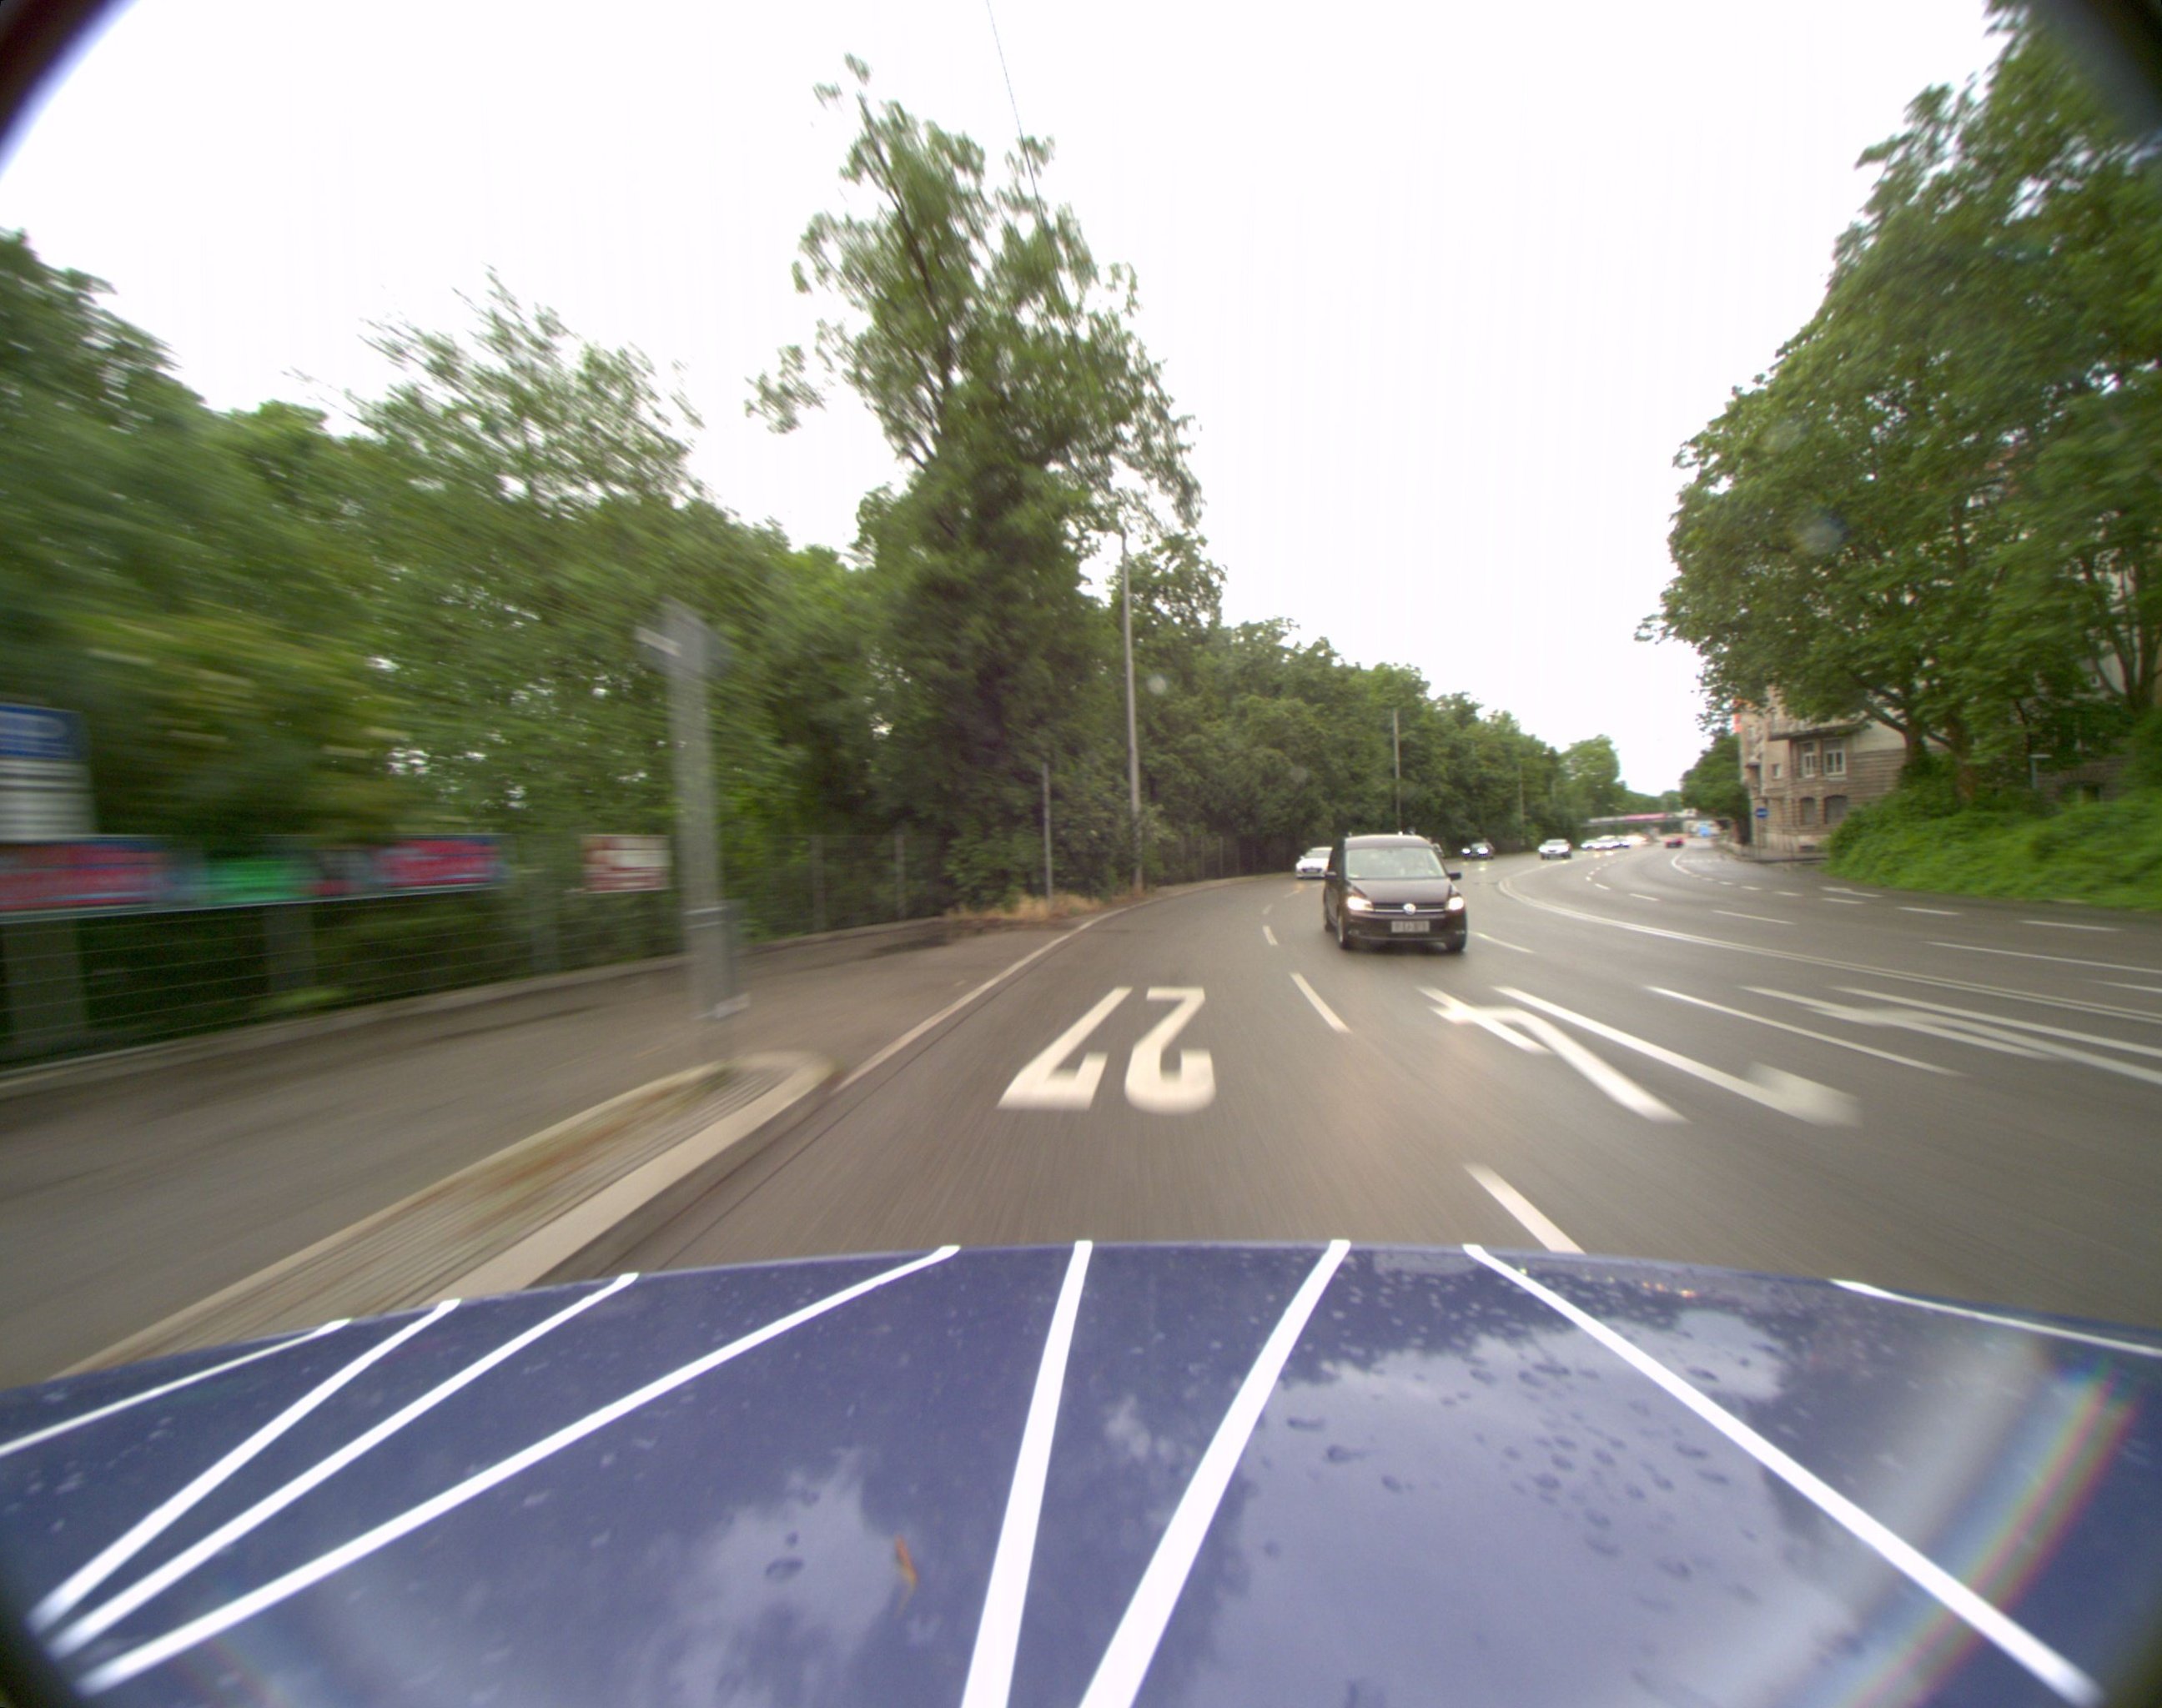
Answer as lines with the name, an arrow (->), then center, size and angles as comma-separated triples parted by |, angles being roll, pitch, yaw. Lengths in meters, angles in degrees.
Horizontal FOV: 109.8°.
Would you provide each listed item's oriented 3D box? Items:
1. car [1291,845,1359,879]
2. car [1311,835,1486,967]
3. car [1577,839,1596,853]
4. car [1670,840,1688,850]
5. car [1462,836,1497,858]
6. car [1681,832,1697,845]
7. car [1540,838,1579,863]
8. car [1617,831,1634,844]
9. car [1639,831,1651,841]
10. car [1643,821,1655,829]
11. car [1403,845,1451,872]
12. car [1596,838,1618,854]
car -> 11.654, 0.359, 36.138 | 1.728, 1.430, 4.008 | -3, -1, 37
car -> 4.948, 0.647, 12.432 | 1.840, 1.780, 4.003 | -2, 0, 11
car -> 74.837, -1.161, 112.554 | 1.875, 1.761, 4.007 | -4, -1, 39
car -> 84.929, -1.282, 107.901 | 1.702, 1.331, 3.923 | -1, 1, 43
car -> 34.628, -0.623, 65.991 | 1.798, 1.586, 4.007 | -4, -1, 41
car -> 105.387, -2.688, 131.735 | 1.851, 2.001, 3.949 | -4, -1, 42
car -> 39.204, -0.313, 62.256 | 3.809, 1.787, 1.699 | -4, -1, -44
car -> 85.516, -2.555, 119.330 | 1.875, 1.761, 4.007 | -4, -1, 40
car -> 117.527, -3.749, 158.350 | 1.875, 1.761, 4.007 | -4, -1, 39
car -> 130.157, -6.585, 174.058 | 1.821, 1.602, 4.007 | -5, -1, 43
car -> 23.943, 0.274, 52.520 | 1.798, 1.586, 4.007 | -5, -1, 43
car -> 69.910, -1.113, 101.027 | 1.995, 1.892, 4.007 | -4, -1, 40
